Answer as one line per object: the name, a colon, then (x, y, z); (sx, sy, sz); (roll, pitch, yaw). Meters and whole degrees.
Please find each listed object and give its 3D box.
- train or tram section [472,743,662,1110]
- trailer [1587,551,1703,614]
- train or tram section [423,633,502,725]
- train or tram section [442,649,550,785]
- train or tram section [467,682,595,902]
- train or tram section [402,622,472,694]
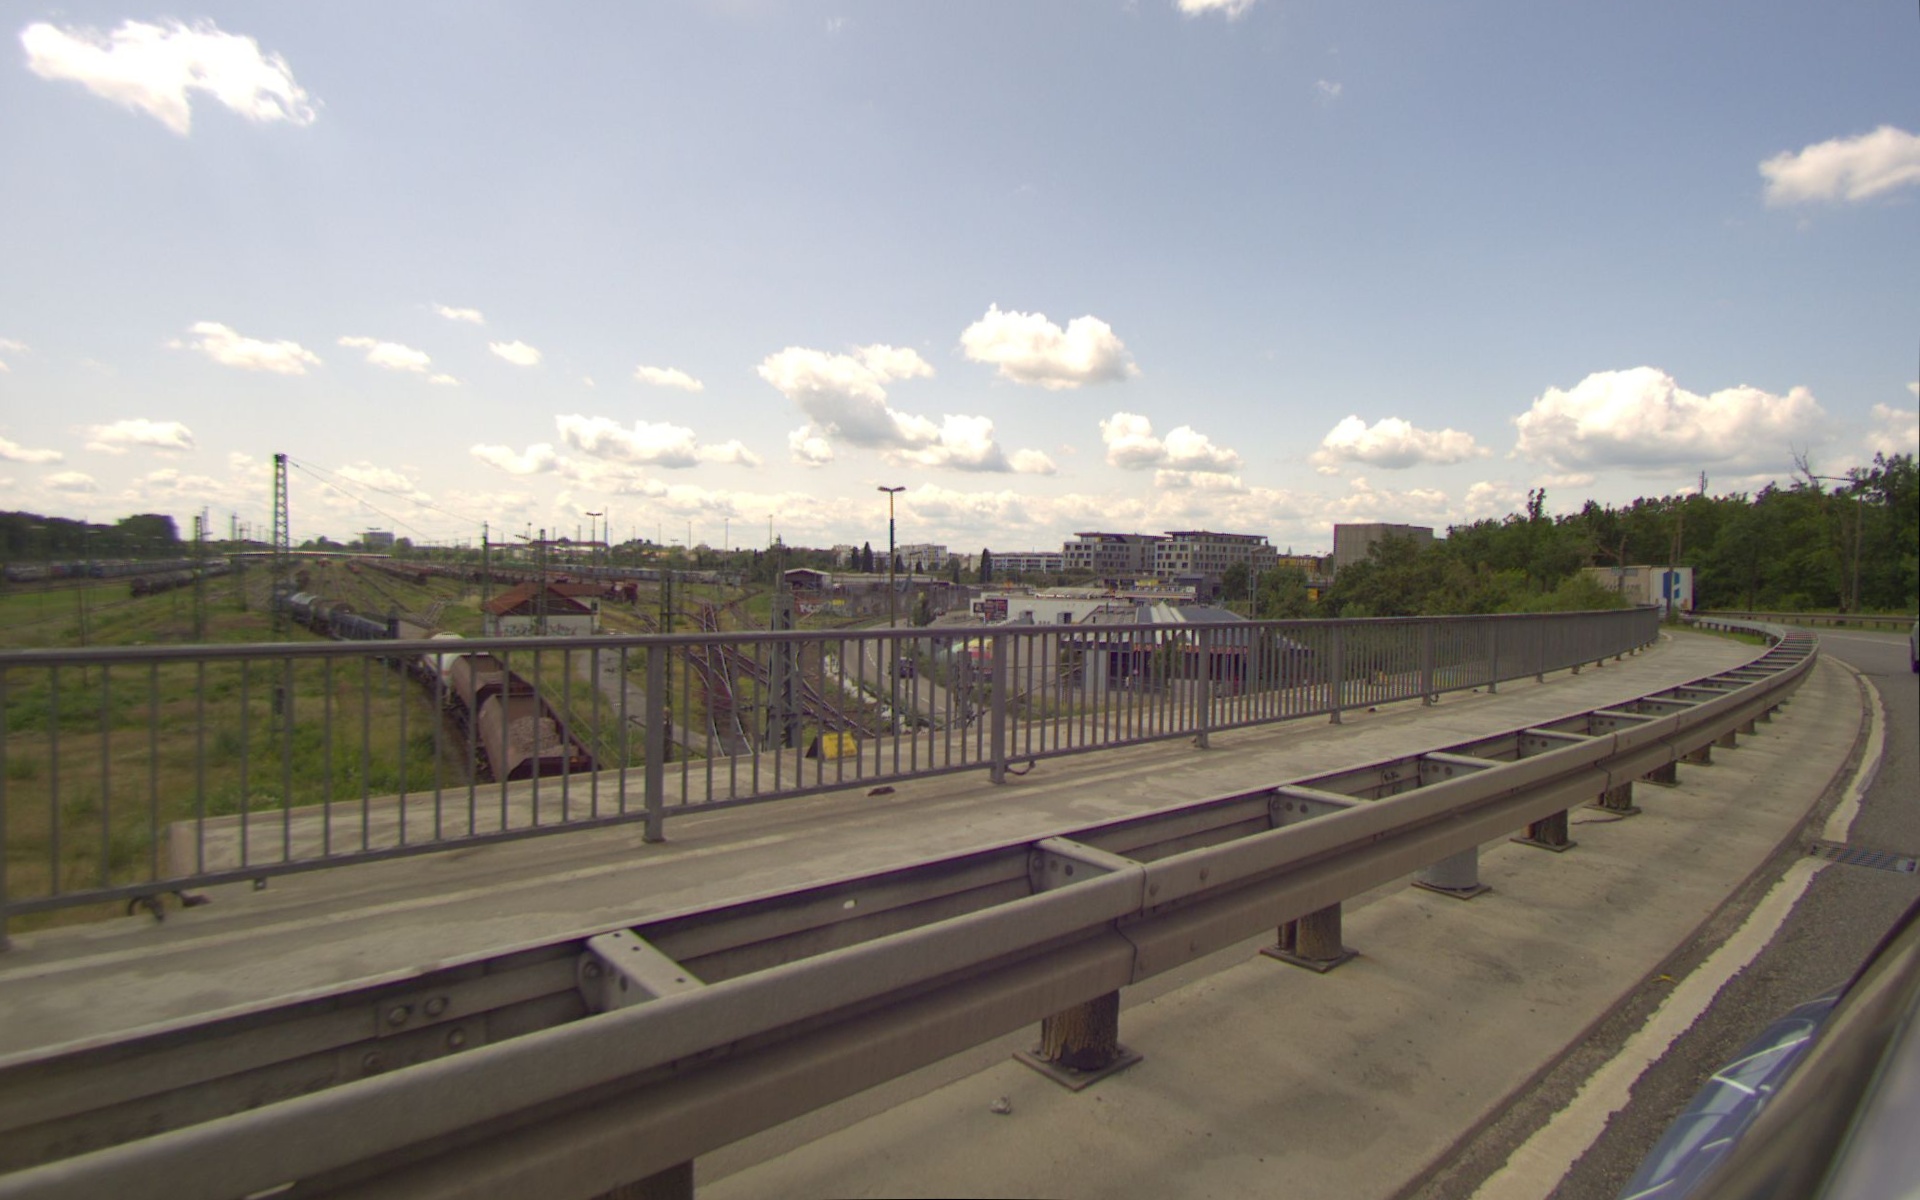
train or tram section: (-9.746, 6.641, 23.990); (3.066, 4.202, 12.090); (-3, 3, -26)
trailer: (51.819, -1.231, 77.187); (2.676, 4.334, 14.166); (-1, 0, 15)
train or tram section: (-33.685, 4.936, 68.057); (3.156, 4.202, 16.983); (-4, 4, -31)
train or tram section: (-24.526, 5.502, 52.596); (3.157, 4.202, 18.923); (-3, 4, -30)
train or tram section: (-16.058, 6.124, 36.901); (3.077, 4.202, 16.639); (-3, 4, -26)
train or tram section: (-43.021, 4.477, 82.810); (3.152, 4.202, 17.708); (-4, 4, -33)
